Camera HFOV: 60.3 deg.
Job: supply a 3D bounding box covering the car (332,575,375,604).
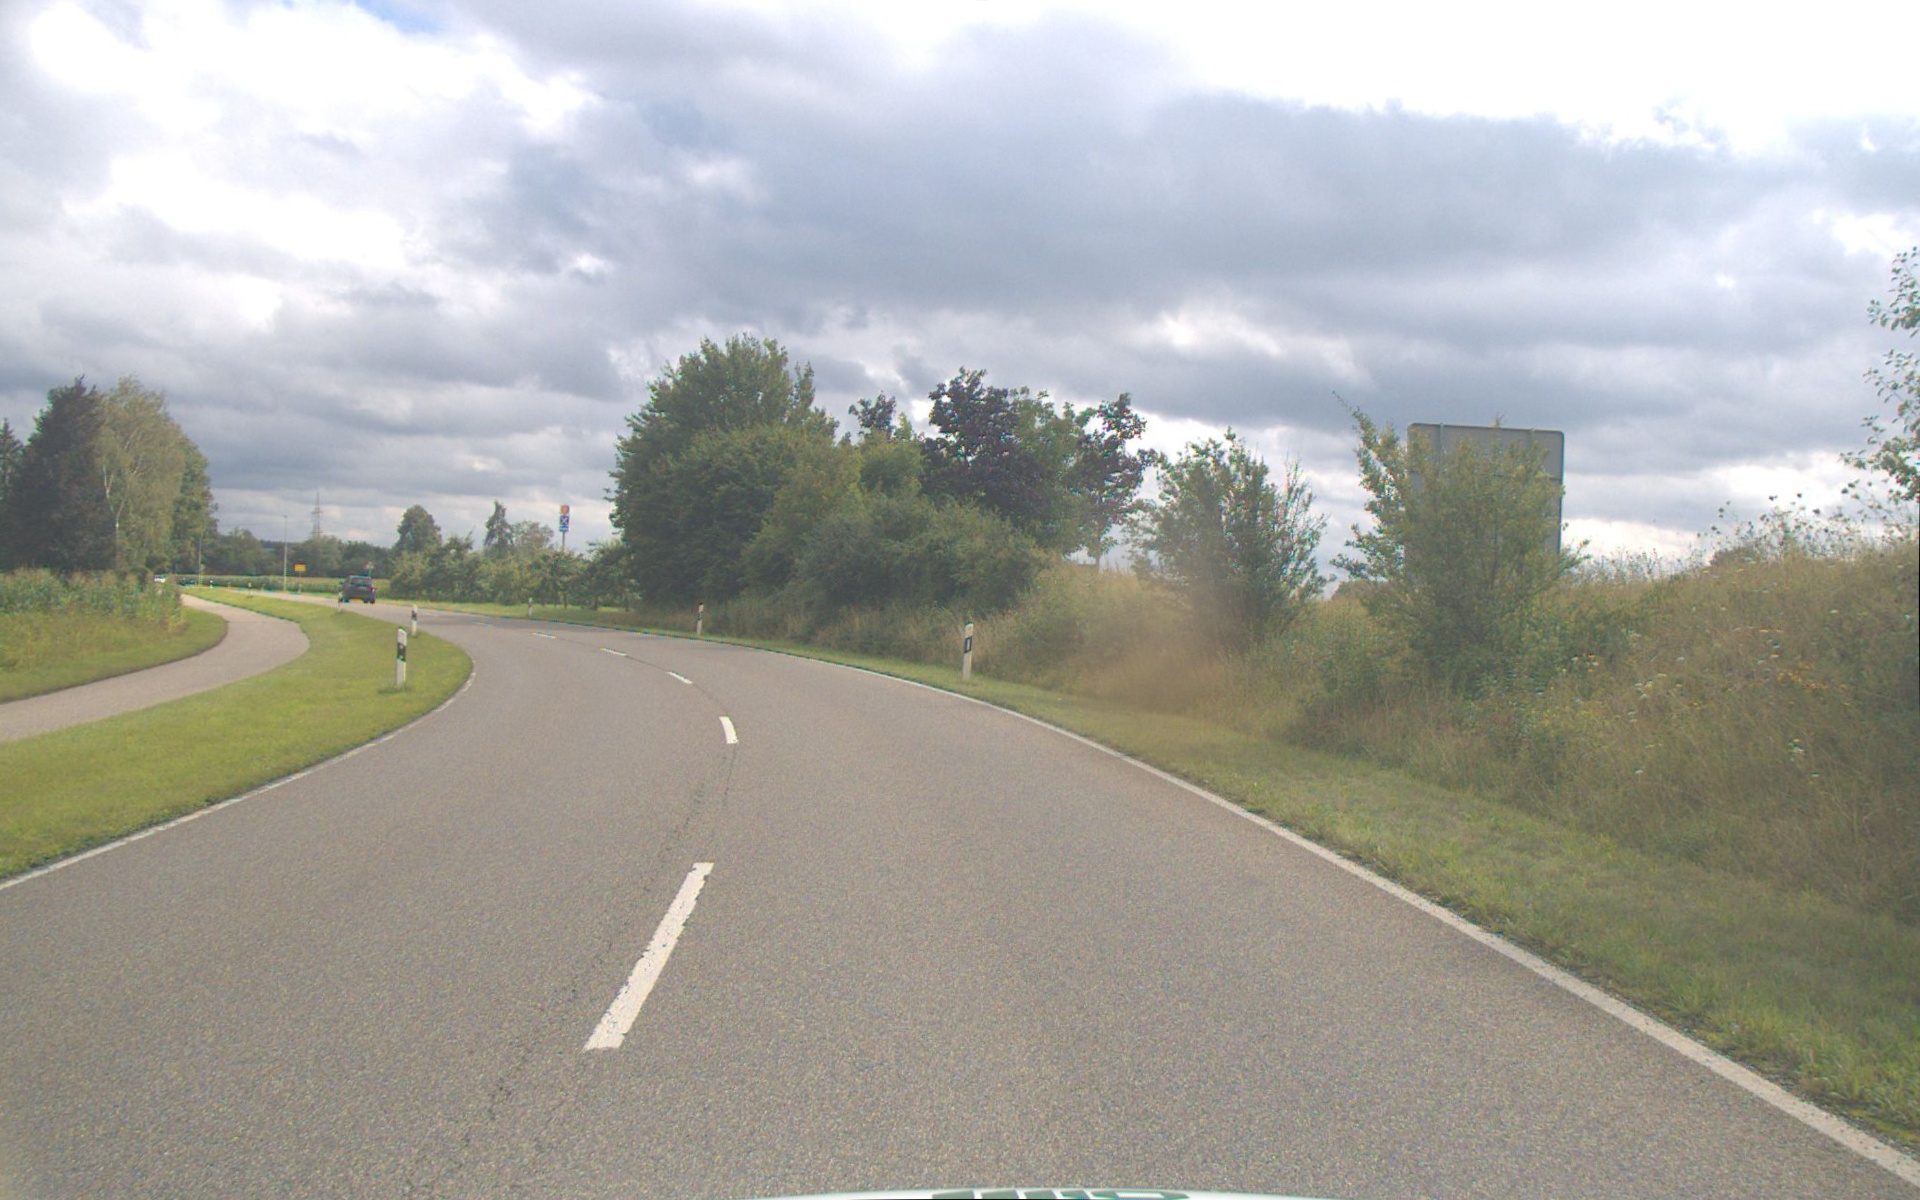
[{"bbox_3d":[-38.958,-0.691,106.128,1.886,1.695,3.960,3,-1,-30],"label":"car"}]
